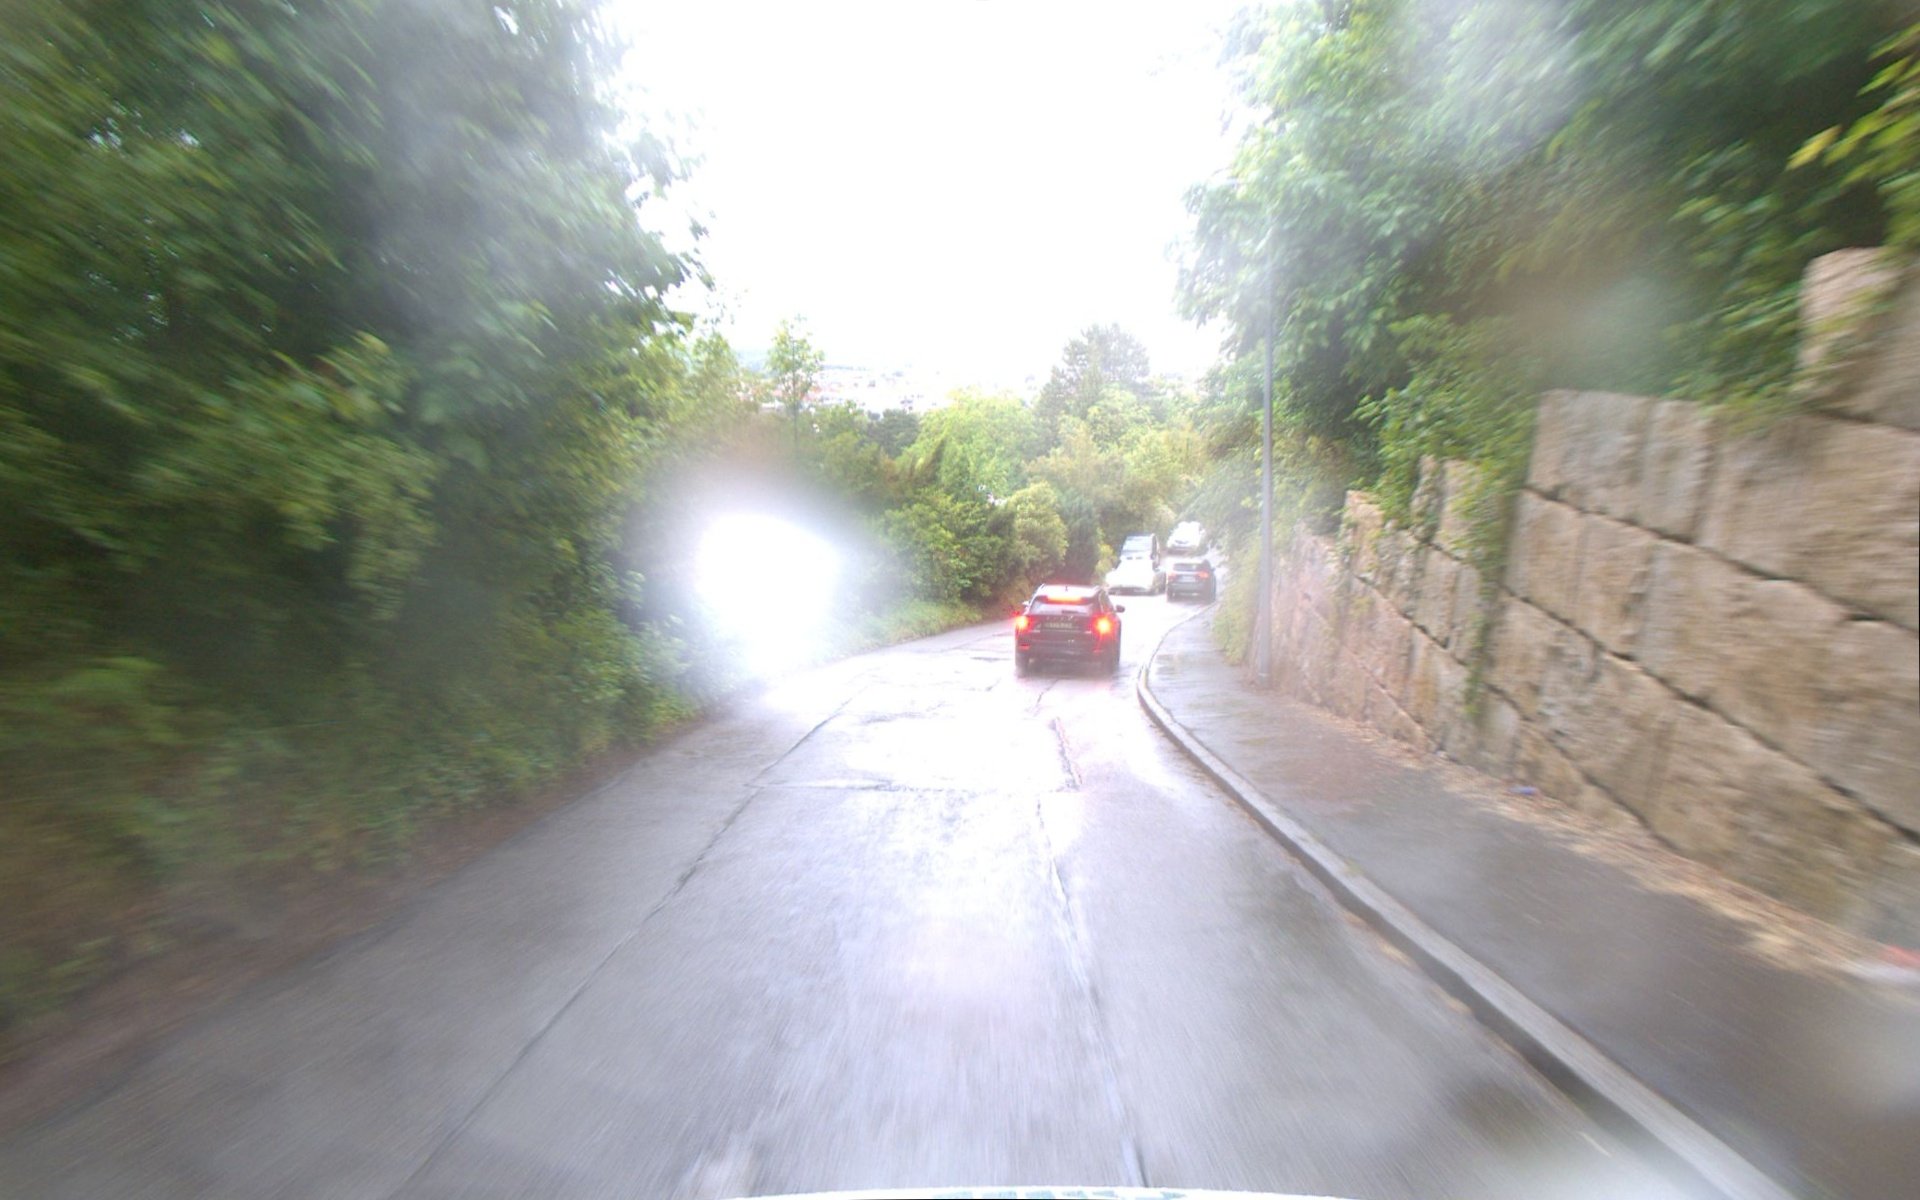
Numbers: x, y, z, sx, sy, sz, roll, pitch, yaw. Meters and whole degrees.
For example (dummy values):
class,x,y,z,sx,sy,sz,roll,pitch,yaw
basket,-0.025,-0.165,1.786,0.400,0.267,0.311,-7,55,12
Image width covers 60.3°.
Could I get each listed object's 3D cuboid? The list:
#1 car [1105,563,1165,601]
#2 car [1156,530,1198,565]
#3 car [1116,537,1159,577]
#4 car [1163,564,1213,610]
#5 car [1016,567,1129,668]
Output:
class,x,y,z,sx,sy,sz,roll,pitch,yaw
car,7.492,-0.759,70.420,1.900,1.549,4.583,1,0,14
car,12.289,-2.974,93.474,2.004,1.627,4.236,2,6,12
car,9.052,-2.200,83.938,1.653,1.813,4.238,0,5,13
car,9.342,-0.521,67.592,1.823,1.773,4.004,1,0,10
car,2.090,0.253,29.828,1.663,1.475,4.006,0,4,9
